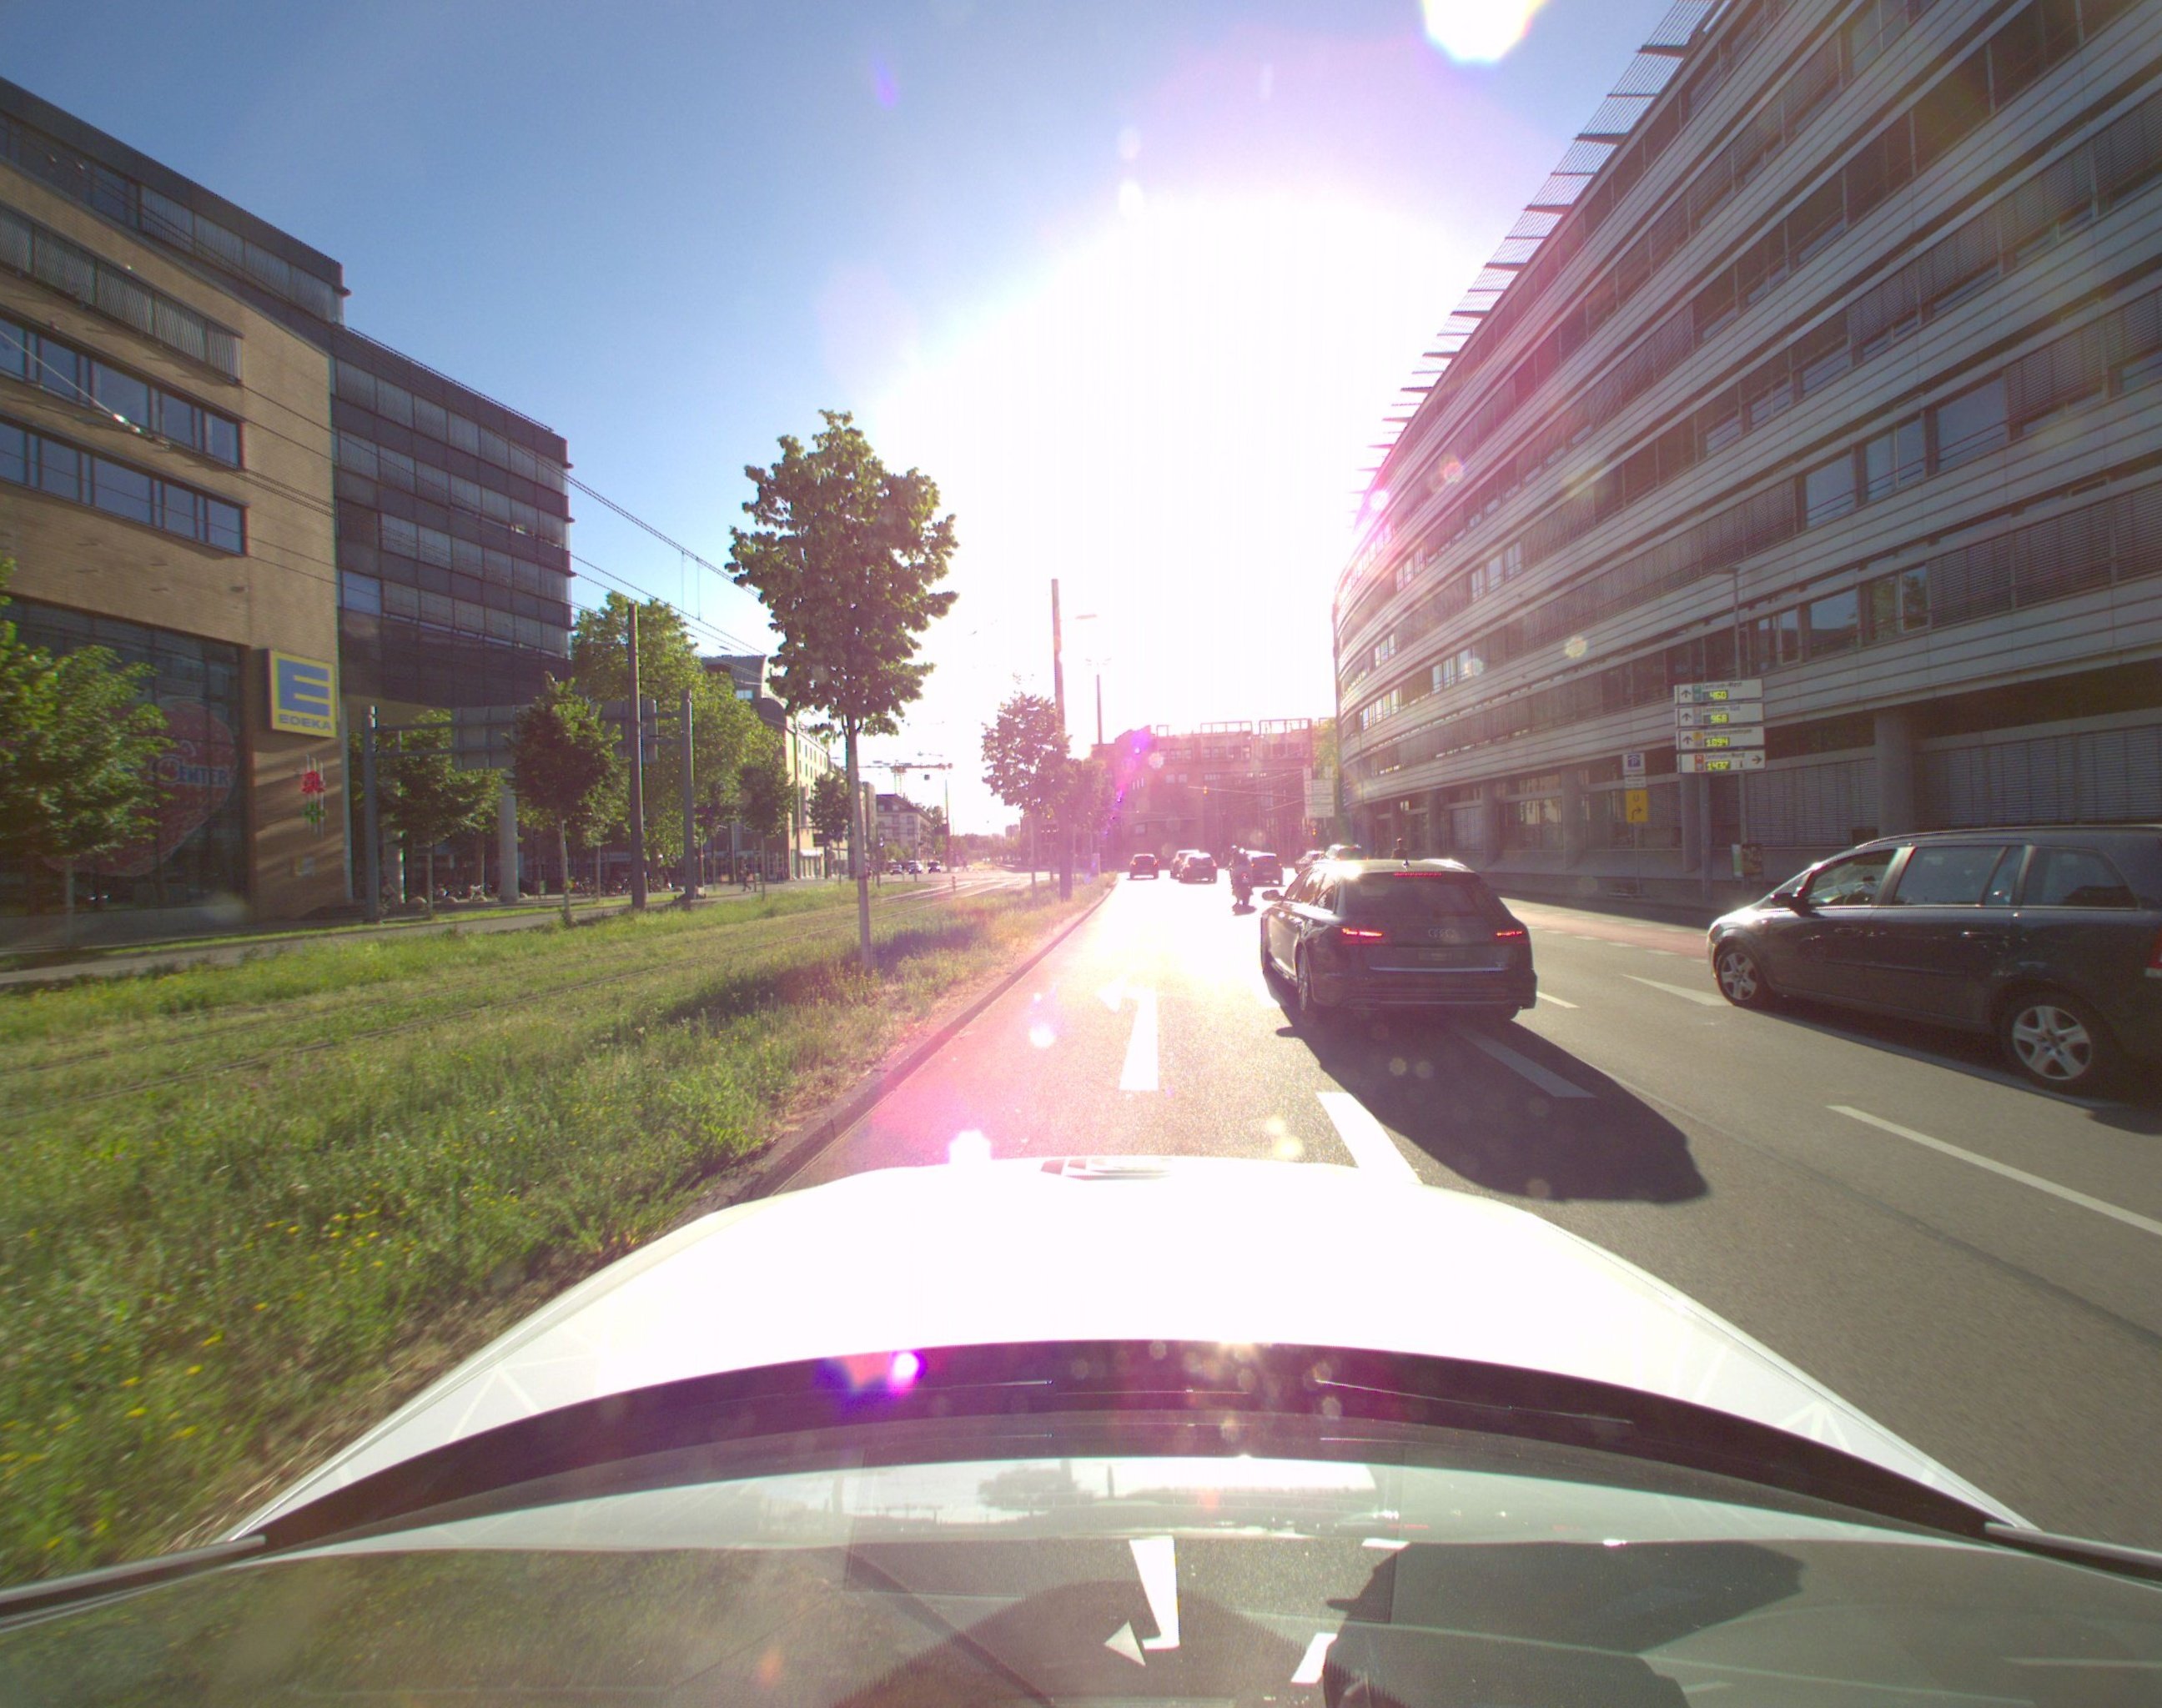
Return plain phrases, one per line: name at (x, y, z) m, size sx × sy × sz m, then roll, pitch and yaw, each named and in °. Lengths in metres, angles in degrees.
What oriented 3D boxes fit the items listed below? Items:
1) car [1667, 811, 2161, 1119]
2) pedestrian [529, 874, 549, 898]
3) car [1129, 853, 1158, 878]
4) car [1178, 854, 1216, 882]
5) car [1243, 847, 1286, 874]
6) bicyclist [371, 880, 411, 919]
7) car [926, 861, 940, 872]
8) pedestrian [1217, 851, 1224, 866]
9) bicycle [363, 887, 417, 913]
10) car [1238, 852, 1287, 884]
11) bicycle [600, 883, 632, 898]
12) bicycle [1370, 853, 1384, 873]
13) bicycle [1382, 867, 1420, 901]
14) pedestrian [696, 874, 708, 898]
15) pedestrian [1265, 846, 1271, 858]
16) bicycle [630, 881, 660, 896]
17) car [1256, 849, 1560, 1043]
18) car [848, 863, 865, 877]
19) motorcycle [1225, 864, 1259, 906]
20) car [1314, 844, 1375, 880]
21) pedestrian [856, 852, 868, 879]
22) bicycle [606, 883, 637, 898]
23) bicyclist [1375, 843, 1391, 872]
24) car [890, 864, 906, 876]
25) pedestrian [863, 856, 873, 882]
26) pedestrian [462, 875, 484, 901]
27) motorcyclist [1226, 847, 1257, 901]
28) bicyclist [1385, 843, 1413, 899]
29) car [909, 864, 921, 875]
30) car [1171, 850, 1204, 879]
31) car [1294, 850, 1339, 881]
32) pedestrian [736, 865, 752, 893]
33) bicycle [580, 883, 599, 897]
car at (6.796, 0.559, 6.327) m, size 1.679 × 1.629 × 4.472 m, roll -2°, pitch 0°, yaw 7°
pedestrian at (-37.243, 2.173, 55.941) m, size 0.728 × 1.597 × 0.839 m, roll -1°, pitch -1°, yaw 8°
car at (3.802, 0.672, 49.350) m, size 1.641 × 1.433 × 4.005 m, roll -2°, pitch 0°, yaw 5°
car at (6.085, 0.690, 42.940) m, size 1.729 × 1.349 × 4.005 m, roll -2°, pitch 0°, yaw 5°
car at (10.321, 0.345, 46.005) m, size 1.799 × 1.457 × 4.005 m, roll -1°, pitch 0°, yaw 5°
bicyclist at (-27.693, 1.807, 32.686) m, size 0.675 × 1.465 × 1.016 m, roll -2°, pitch 0°, yaw 1°
car at (-22.254, 1.888, 122.475) m, size 1.747 × 1.505 × 3.862 m, roll -2°, pitch 0°, yaw -13°
pedestrian at (17.139, 0.548, 100.182) m, size 0.699 × 1.759 × 0.564 m, roll -2°, pitch -1°, yaw 29°
bicycle at (-27.673, 1.820, 32.657) m, size 0.496 × 0.910 × 1.889 m, roll -2°, pitch 0°, yaw 1°
car at (8.681, 0.649, 39.232) m, size 1.799 × 1.457 × 4.005 m, roll -1°, pitch 0°, yaw 5°
bicycle at (-31.248, 2.466, 54.777) m, size 1.767 × 0.951 × 0.539 m, roll -2°, pitch 0°, yaw -12°
bicycle at (16.740, 0.487, 46.094) m, size 0.501 × 1.058 × 1.708 m, roll -4°, pitch -1°, yaw 13°
bicycle at (10.429, 0.951, 26.641) m, size 0.489 × 0.997 × 2.331 m, roll -2°, pitch 0°, yaw 5°
pedestrian at (-33.511, 2.822, 71.967) m, size 0.663 × 2.013 × 0.679 m, roll -2°, pitch 0°, yaw 4°
pedestrian at (21.201, -0.220, 92.375) m, size 0.527 × 1.430 × 0.598 m, roll -2°, pitch 0°, yaw 3°
bicycle at (-30.850, 2.438, 57.632) m, size 1.762 × 0.951 × 0.540 m, roll -2°, pitch 0°, yaw -4°
car at (3.004, 0.707, 8.559) m, size 1.802 × 1.492 × 4.503 m, roll 0°, pitch 0°, yaw 6°
car at (-33.333, 2.355, 121.144) m, size 1.993 × 2.013 × 3.987 m, roll -2°, pitch 0°, yaw -9°
motorcycle at (4.679, 0.884, 23.796) m, size 0.771 × 1.115 × 1.973 m, roll -2°, pitch 0°, yaw 7°
car at (14.024, 0.403, 43.594) m, size 1.985 × 1.750 × 4.332 m, roll -2°, pitch 0°, yaw 3°
pedestrian at (-15.444, 0.806, 57.506) m, size 0.630 × 1.830 × 0.662 m, roll -2°, pitch 0°, yaw -3°
bicycle at (-31.466, 2.498, 55.753) m, size 1.773 × 0.951 × 0.537 m, roll -2°, pitch 0°, yaw -23°
bicyclist at (17.126, 0.186, 46.240) m, size 0.679 × 1.618 × 0.994 m, roll -2°, pitch 0°, yaw 12°
car at (-27.774, 2.380, 123.629) m, size 1.993 × 1.596 × 4.723 m, roll -3°, pitch 0°, yaw -9°
pedestrian at (-15.287, 1.084, 58.433) m, size 0.561 × 1.817 × 0.662 m, roll -2°, pitch 0°, yaw -3°
pedestrian at (-39.694, 2.240, 53.208) m, size 0.728 × 1.645 × 0.839 m, roll -2°, pitch 0°, yaw 8°
motorcyclist at (4.647, 0.569, 23.651) m, size 0.741 × 1.530 × 1.023 m, roll -2°, pitch 0°, yaw 7°
bicyclist at (10.426, 0.555, 26.691) m, size 0.574 × 1.791 × 0.865 m, roll -2°, pitch 0°, yaw 5°
car at (-25.201, 2.332, 123.523) m, size 1.747 × 1.505 × 3.862 m, roll -2°, pitch 0°, yaw -13°
car at (6.479, 0.594, 49.849) m, size 1.729 × 1.651 × 4.005 m, roll -2°, pitch 0°, yaw 5°
car at (13.804, 0.650, 47.902) m, size 1.982 × 1.651 × 4.009 m, roll -2°, pitch 0°, yaw 8°
pedestrian at (-24.489, 1.818, 59.128) m, size 0.728 × 2.014 × 0.839 m, roll -1°, pitch -1°, yaw 8°
bicycle at (-33.360, 2.437, 55.244) m, size 1.748 × 0.951 × 0.545 m, roll -2°, pitch -1°, yaw 40°
